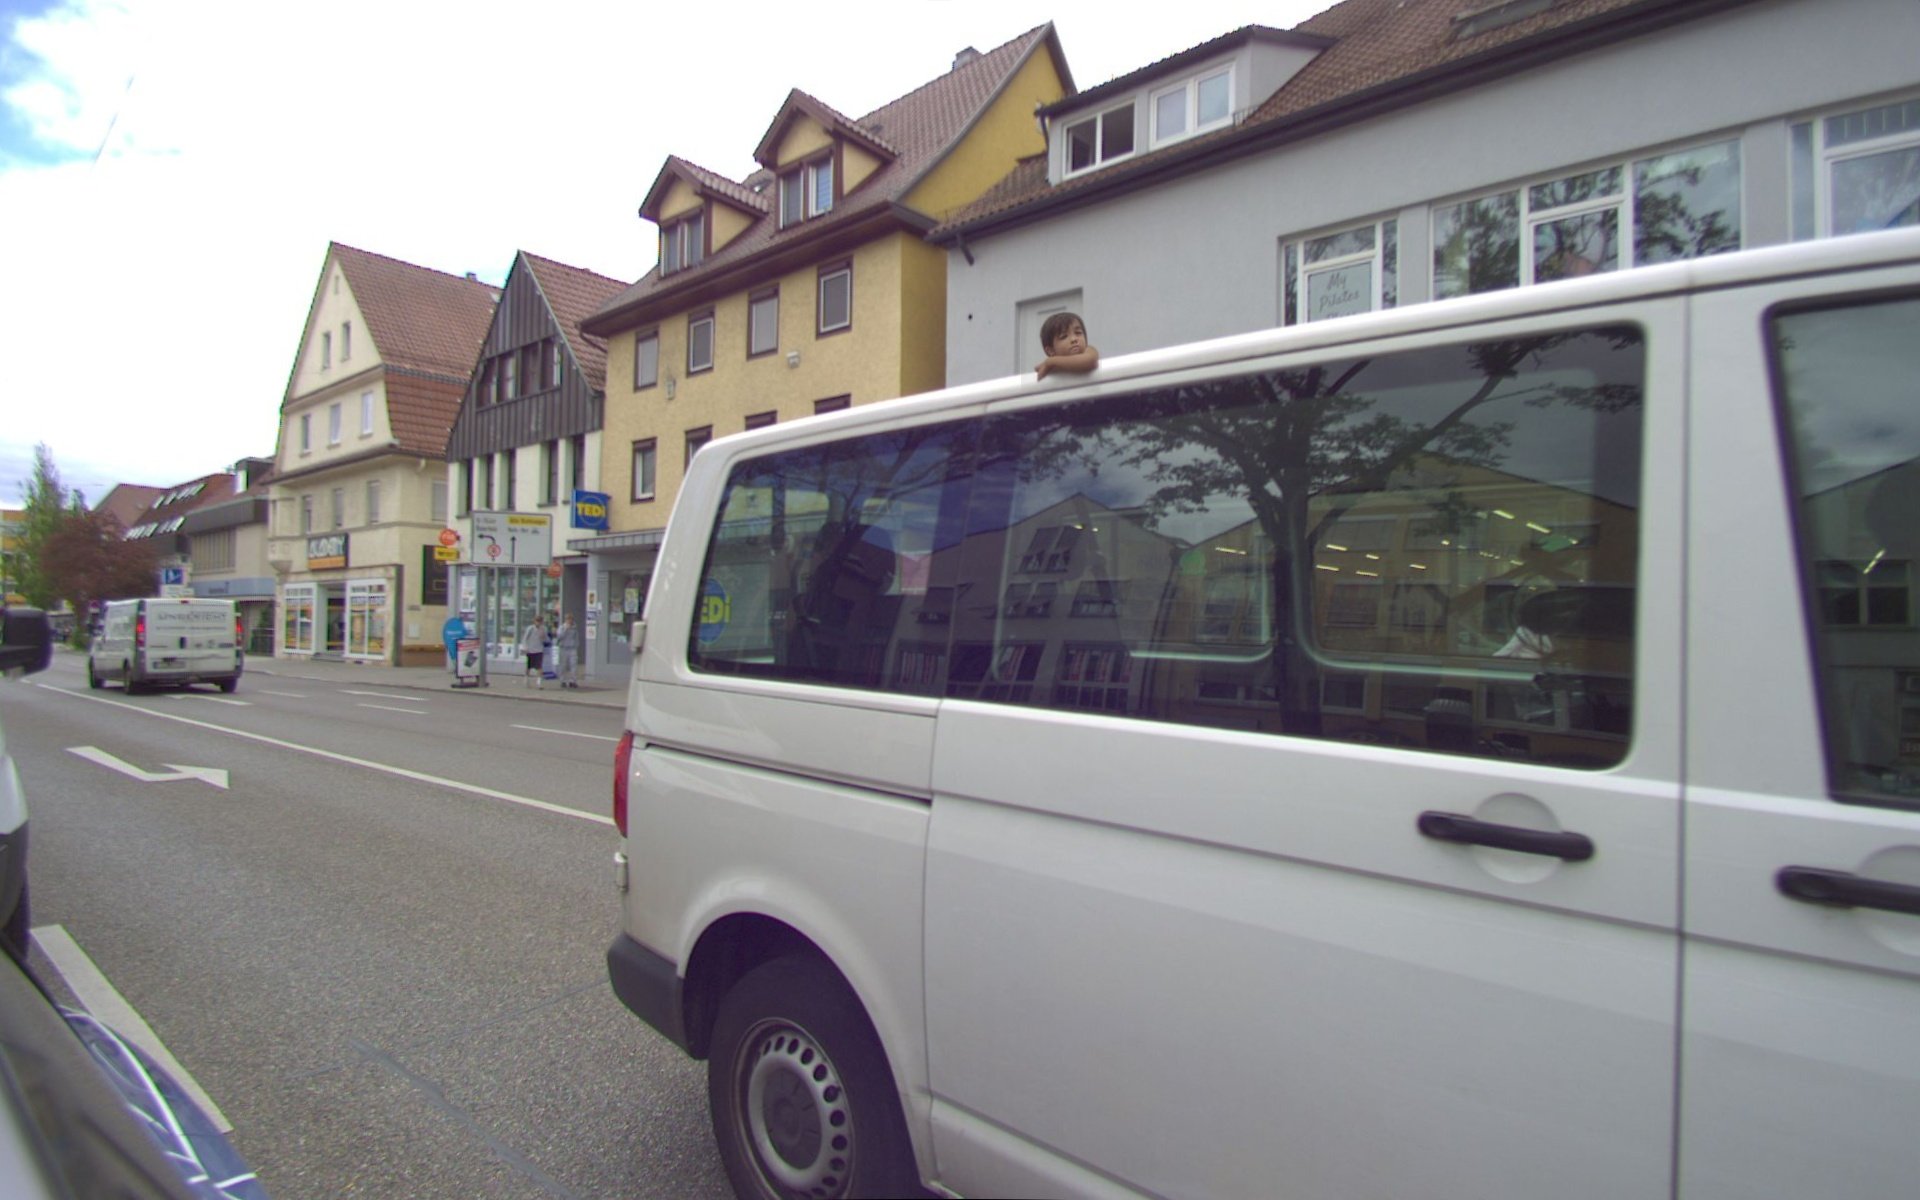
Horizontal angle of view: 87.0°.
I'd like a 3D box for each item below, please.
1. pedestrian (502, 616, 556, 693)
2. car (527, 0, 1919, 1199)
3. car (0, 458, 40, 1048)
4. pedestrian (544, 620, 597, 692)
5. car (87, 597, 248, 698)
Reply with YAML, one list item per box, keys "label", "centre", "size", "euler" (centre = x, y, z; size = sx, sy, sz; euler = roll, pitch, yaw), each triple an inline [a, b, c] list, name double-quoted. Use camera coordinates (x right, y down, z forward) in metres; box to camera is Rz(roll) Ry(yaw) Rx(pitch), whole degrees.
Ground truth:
- label: "pedestrian"
  centre: [-9.659, 1.211, 22.666]
  size: [0.920, 1.674, 0.801]
  euler: [-2, -2, 42]
- label: "car"
  centre: [1.280, 0.386, 1.929]
  size: [4.837, 2.029, 1.973]
  euler: [-2, -1, 41]
- label: "car"
  centre: [-5.981, 0.583, 4.675]
  size: [5.777, 1.994, 1.915]
  euler: [-2, 0, 41]
- label: "pedestrian"
  centre: [-8.912, 1.260, 23.165]
  size: [0.920, 1.595, 0.801]
  euler: [-2, -2, 42]
- label: "car"
  centre: [-17.190, 0.990, 21.876]
  size: [4.523, 1.958, 1.885]
  euler: [-2, -2, 41]
